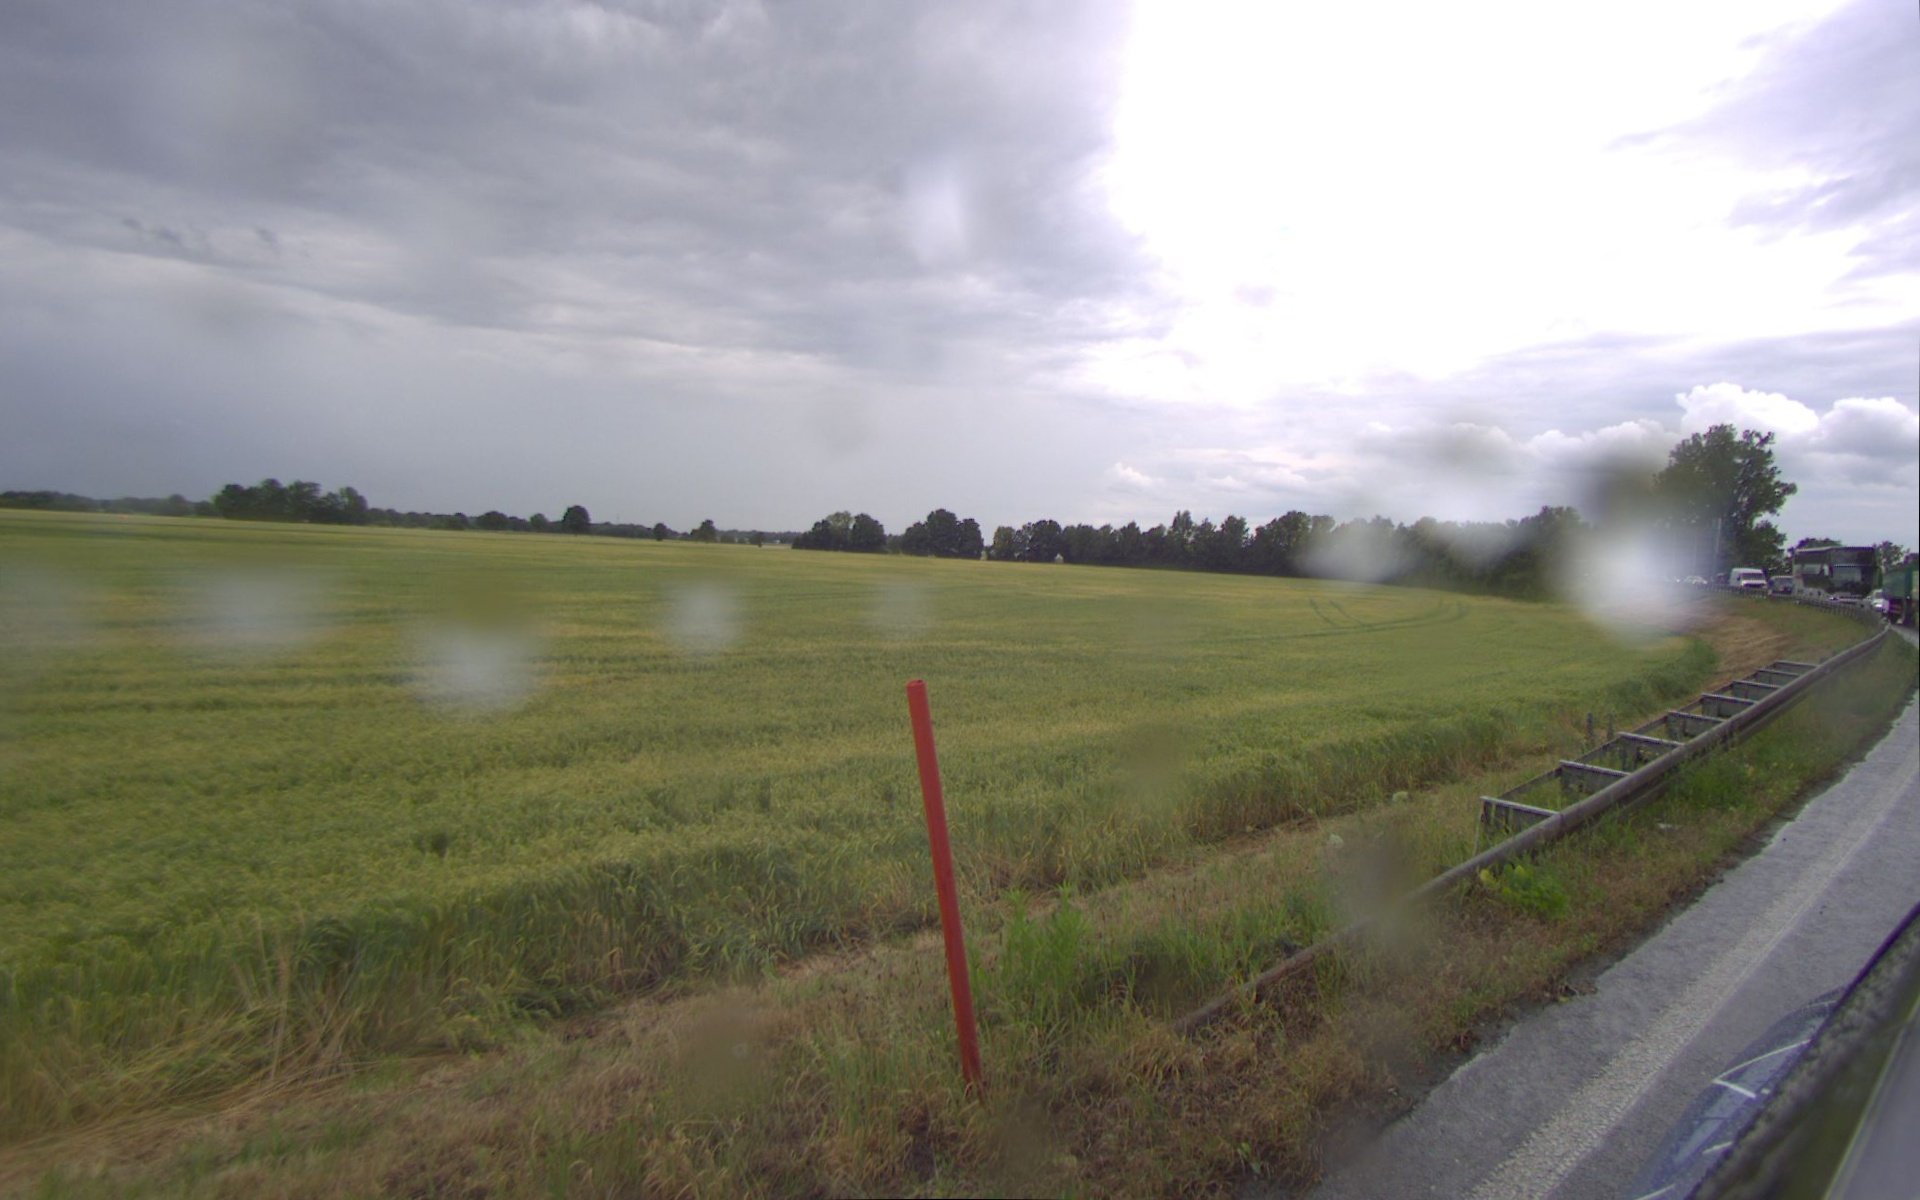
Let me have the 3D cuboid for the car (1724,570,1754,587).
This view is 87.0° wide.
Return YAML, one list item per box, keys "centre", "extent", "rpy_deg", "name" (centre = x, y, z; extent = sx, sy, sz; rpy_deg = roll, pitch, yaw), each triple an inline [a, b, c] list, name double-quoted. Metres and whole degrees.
- centre: [95.317, -2.630, 123.872]
  extent: [1.979, 2.039, 4.146]
  rpy_deg: [0, 1, 24]
  name: "car"

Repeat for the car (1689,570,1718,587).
- centre: [90.422, -2.612, 123.128]
  extent: [1.979, 2.039, 4.197]
  rpy_deg: [0, 1, 25]
  name: "car"

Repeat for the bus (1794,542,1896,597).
- centre: [60.439, -2.141, 69.502]
  extent: [2.943, 3.353, 14.671]
  rpy_deg: [0, 2, 32]
  name: "bus"

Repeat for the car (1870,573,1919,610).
- centre: [49.506, -0.492, 53.057]
  extent: [2.030, 1.865, 5.269]
  rpy_deg: [0, 1, 35]
  name: "car"

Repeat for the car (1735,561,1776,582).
- centre: [78.406, -2.821, 99.770]
  extent: [1.979, 2.039, 5.291]
  rpy_deg: [0, 1, 25]
  name: "car"

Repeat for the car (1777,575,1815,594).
- centre: [69.649, -1.311, 84.345]
  extent: [1.800, 1.597, 3.957]
  rpy_deg: [0, 1, 31]
  name: "car"

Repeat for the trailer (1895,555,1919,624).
- centre: [39.557, -0.421, 39.811]
  extent: [2.971, 2.665, 15.464]
  rpy_deg: [0, 1, 39]
  name: "trailer"
